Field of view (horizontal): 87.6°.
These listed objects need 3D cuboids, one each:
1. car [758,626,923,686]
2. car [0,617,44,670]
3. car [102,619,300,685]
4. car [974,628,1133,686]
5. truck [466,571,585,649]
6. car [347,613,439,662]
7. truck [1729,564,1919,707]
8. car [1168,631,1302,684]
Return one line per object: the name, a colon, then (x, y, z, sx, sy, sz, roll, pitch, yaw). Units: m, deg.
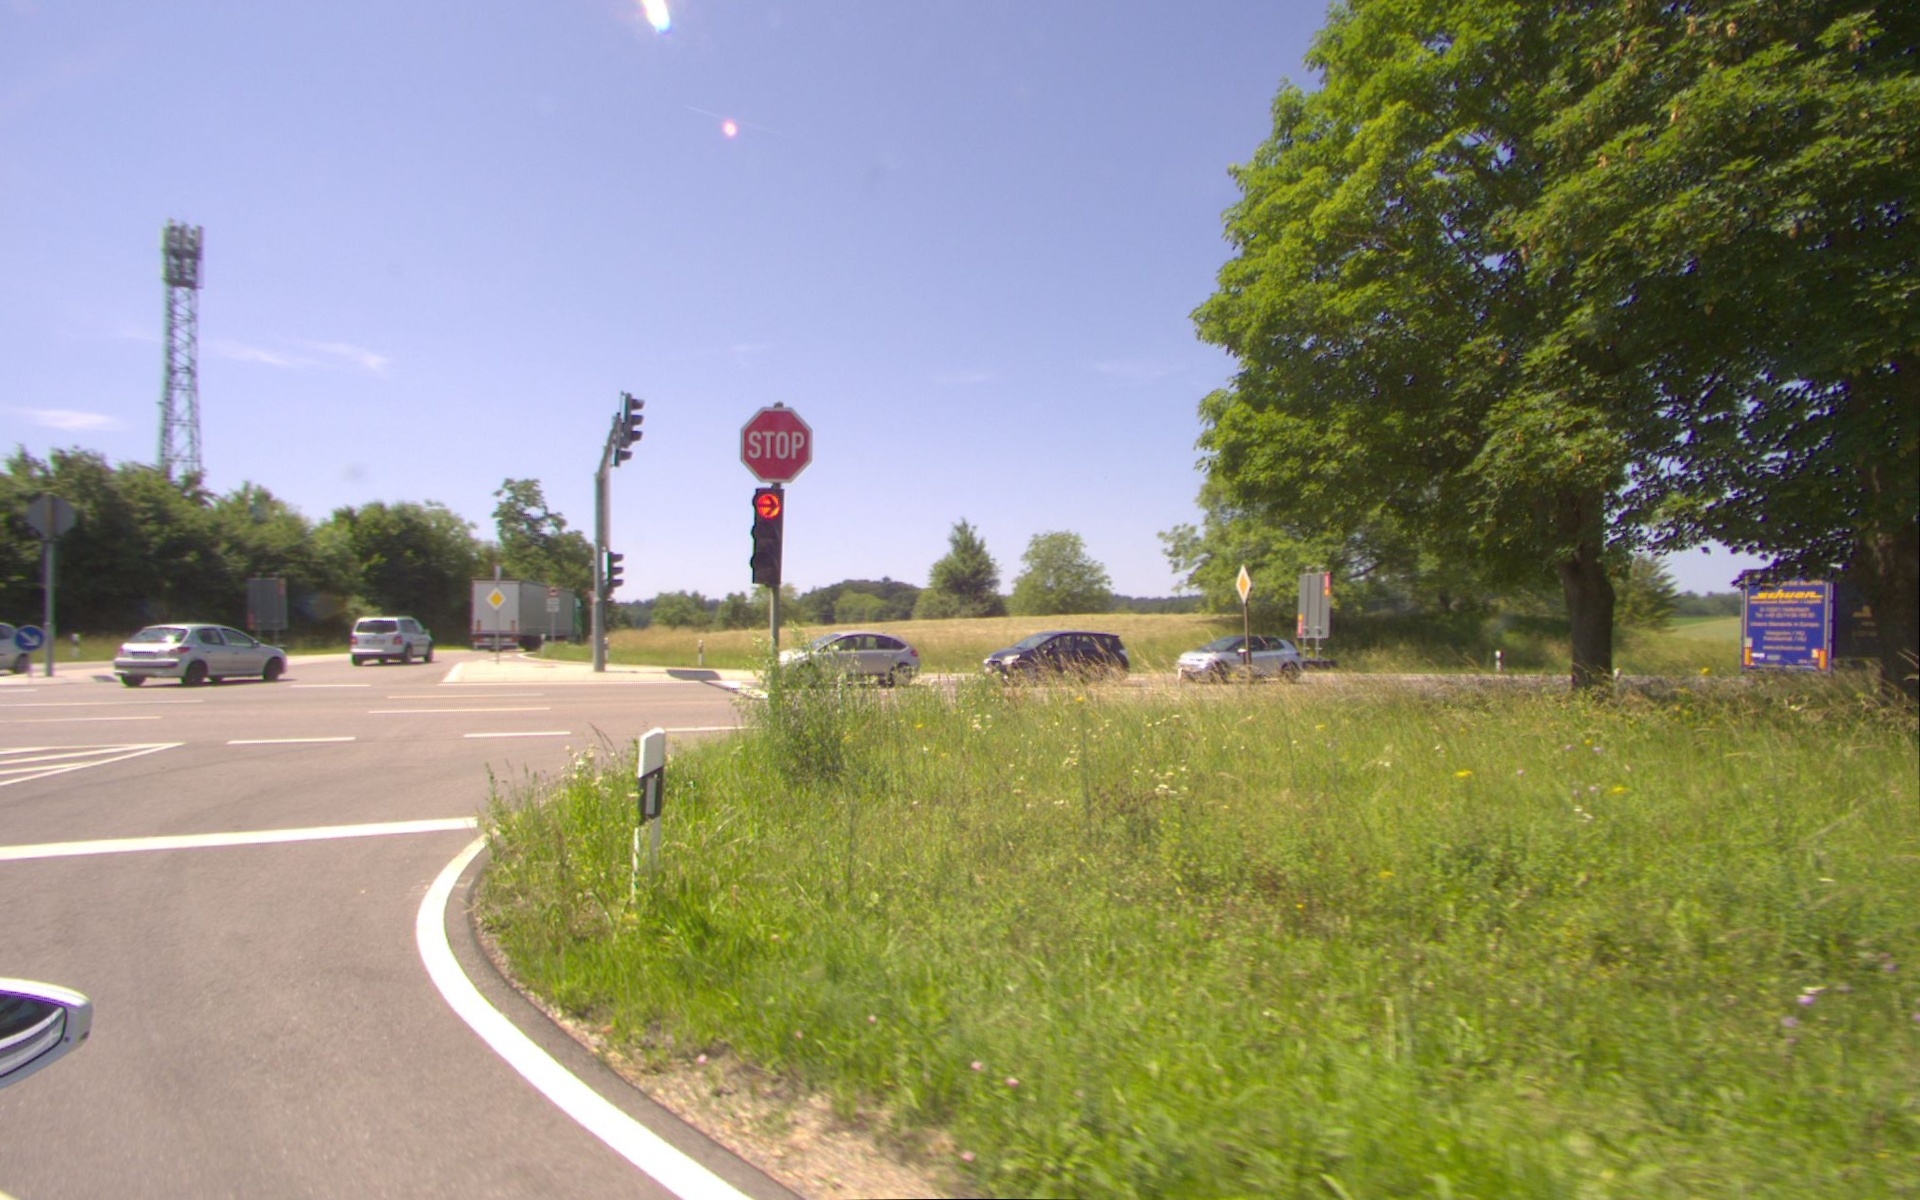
car: (-3.233, 1.514, 27.107, 4.104, 1.489, 1.723, 2, 0, -23)
car: (-26.338, 1.149, 26.464, 1.541, 1.388, 3.528, 1, -1, -12)
car: (-18.238, 1.191, 24.310, 1.783, 1.431, 3.784, 1, -1, 4)
car: (2.756, 1.668, 29.449, 4.309, 1.573, 1.724, 2, 0, -20)
truck: (-26.748, 0.810, 62.837, 3.077, 4.226, 16.680, 1, -2, -10)
car: (-20.315, 1.295, 36.054, 1.785, 1.646, 4.055, 0, 0, -13)
truck: (32.809, 1.263, 33.348, 16.525, 4.185, 2.845, 1, -1, -19)
car: (8.954, 1.875, 32.611, 3.954, 1.573, 1.650, 2, 0, -20)
